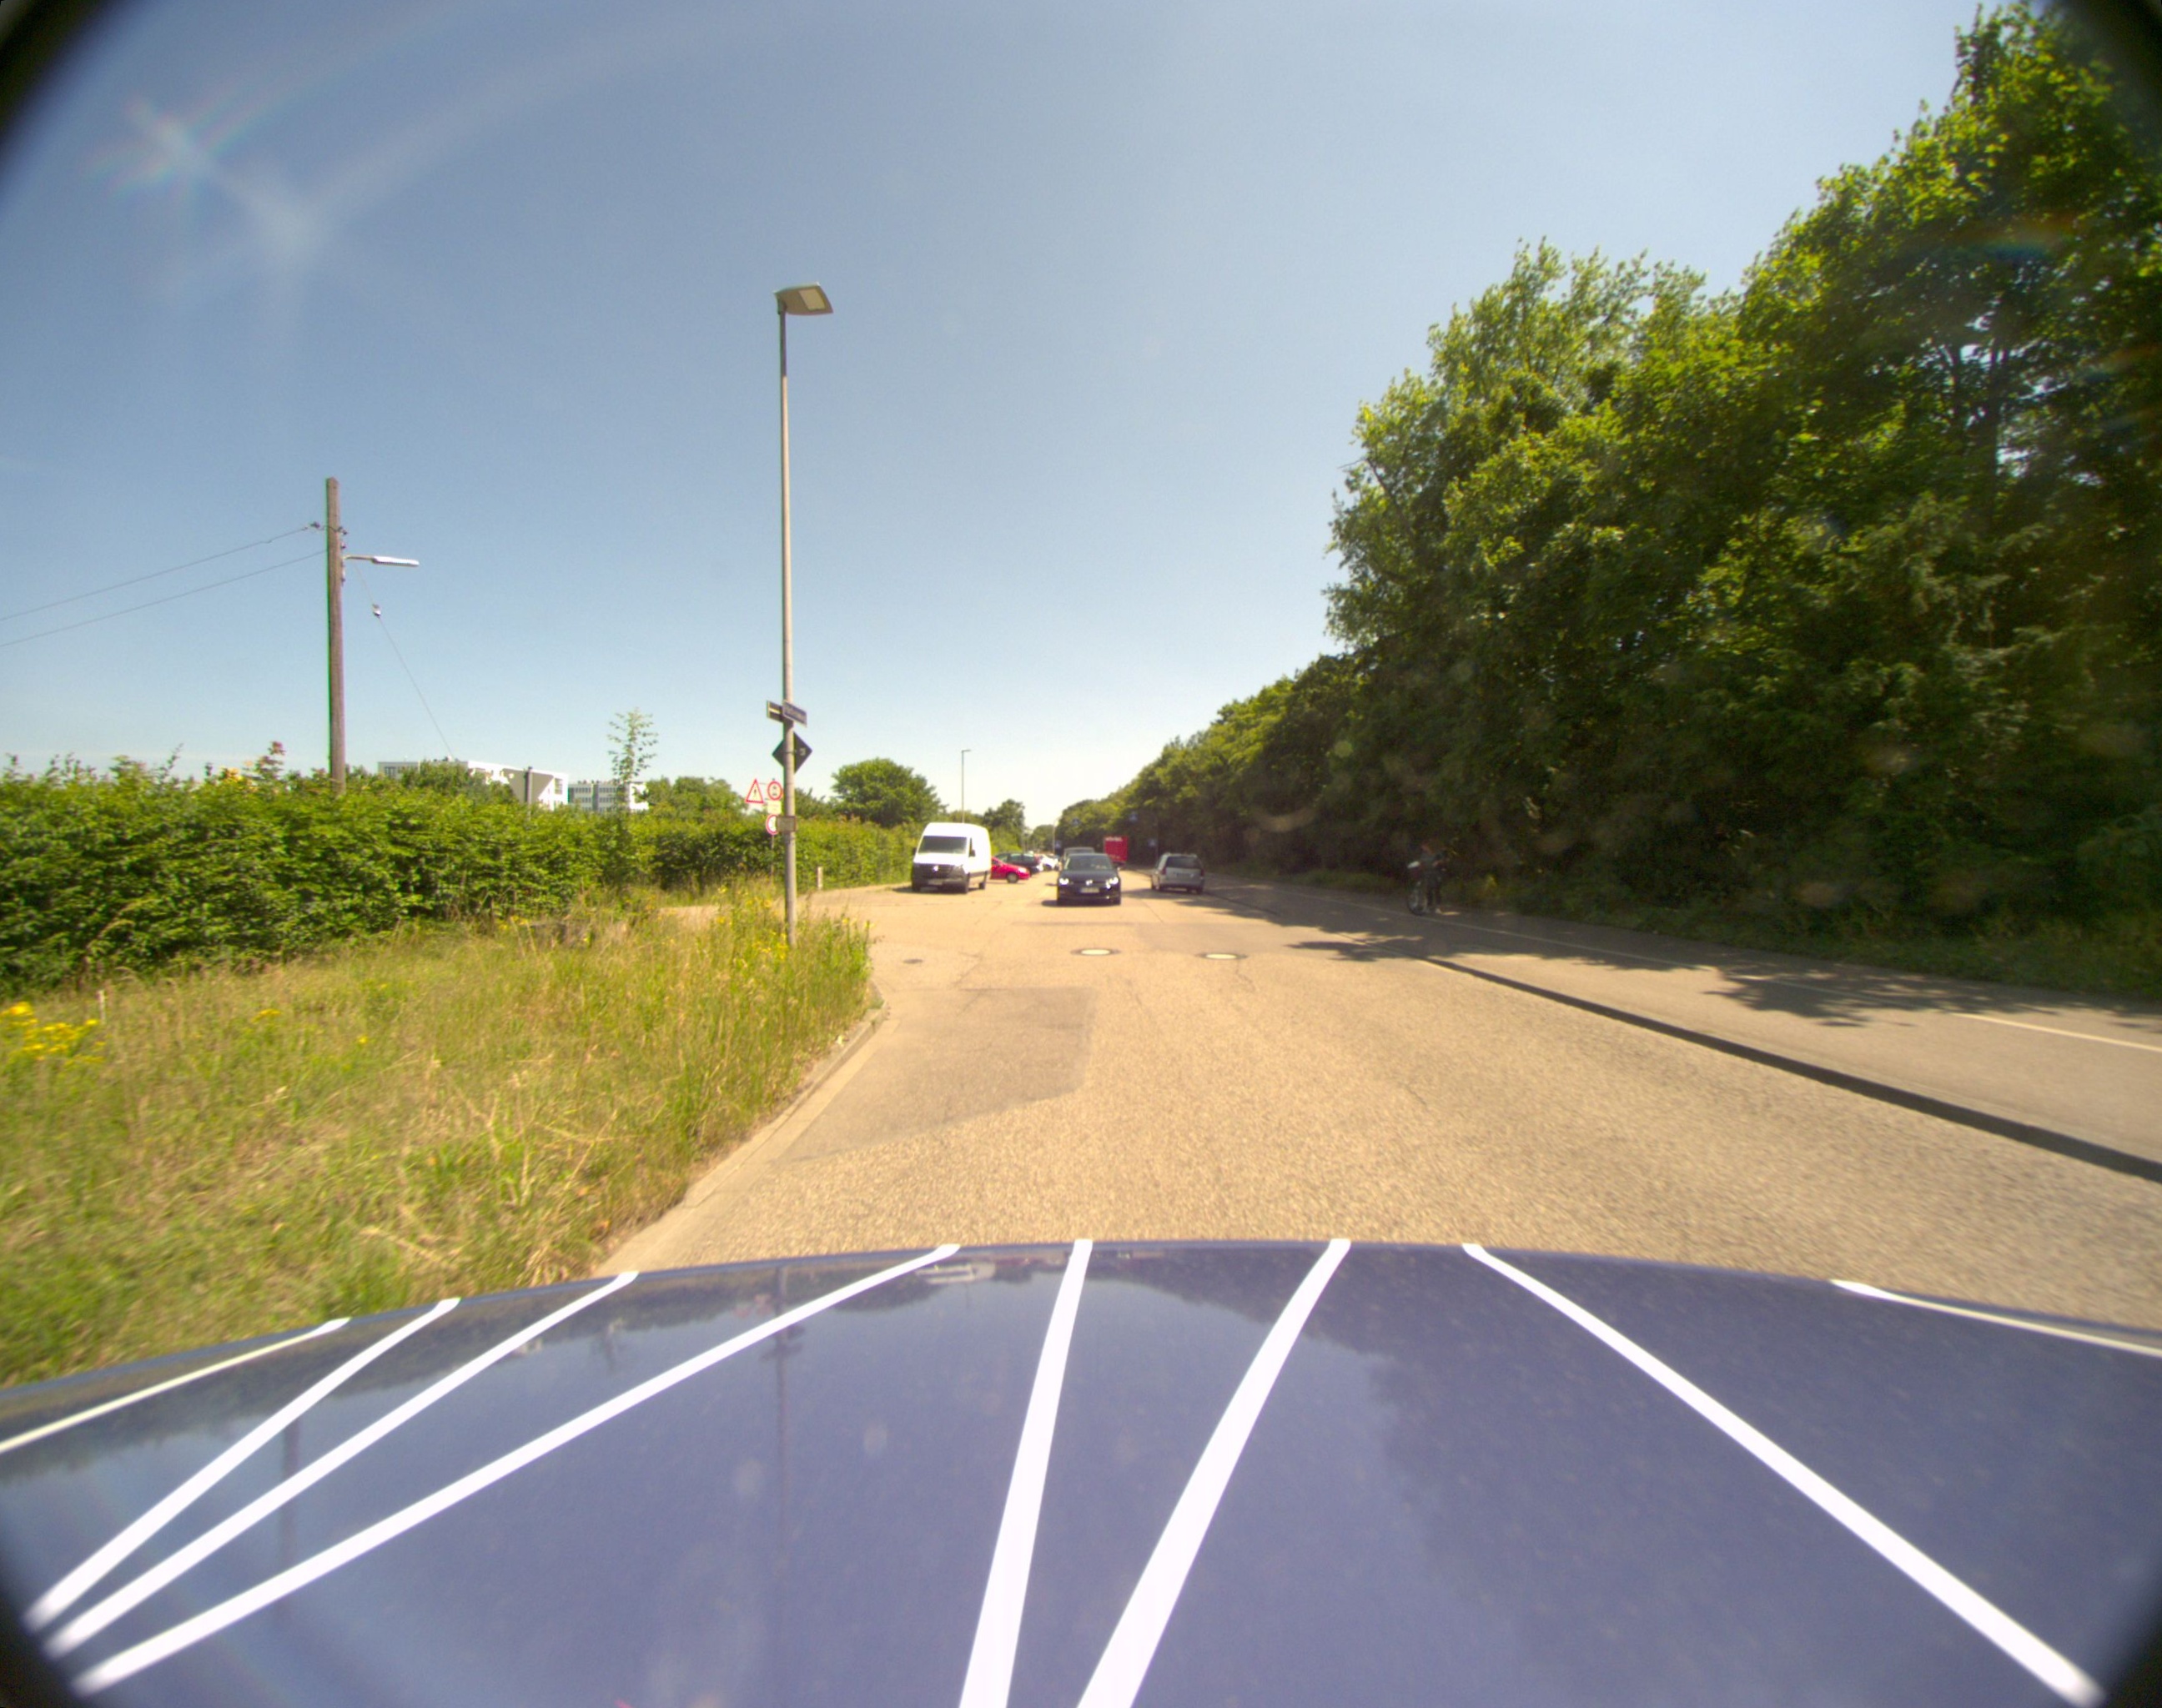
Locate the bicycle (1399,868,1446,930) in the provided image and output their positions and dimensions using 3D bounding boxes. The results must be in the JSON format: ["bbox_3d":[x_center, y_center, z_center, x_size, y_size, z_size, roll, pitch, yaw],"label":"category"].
[{"bbox_3d":[7.778,0.987,17.374,0.522,1.229,1.962,-3,1,12],"label":"bicycle"}]

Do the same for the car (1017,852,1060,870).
[{"bbox_3d":[-4.035,0.624,72.129,3.974,1.514,1.863,3,0,-6],"label":"car"}]

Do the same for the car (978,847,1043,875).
[{"bbox_3d":[-4.938,0.496,53.460,4.466,1.794,1.951,2,1,-4],"label":"car"}]

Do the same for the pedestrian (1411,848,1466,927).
[{"bbox_3d":[8.075,0.742,17.173,0.812,1.708,0.775,-3,2,-34],"label":"pedestrian"}]

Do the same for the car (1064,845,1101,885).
[{"bbox_3d":[0.025,0.539,39.376,1.743,1.905,4.387,-2,0,-2],"label":"car"}]

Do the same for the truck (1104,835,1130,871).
[{"bbox_3d":[3.622,-0.100,77.147,2.328,3.420,7.161,2,0,1],"label":"truck"}]

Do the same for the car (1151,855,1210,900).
[{"bbox_3d":[3.965,0.904,30.938,1.796,1.563,4.272,4,0,1],"label":"car"}]

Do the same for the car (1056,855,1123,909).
[{"bbox_3d":[0.155,0.739,22.319,1.743,1.396,4.387,-1,0,-2],"label":"car"}]

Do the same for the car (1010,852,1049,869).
[{"bbox_3d":[-4.660,0.594,69.118,3.395,1.495,1.588,1,0,3],"label":"car"}]

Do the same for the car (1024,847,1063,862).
[{"bbox_3d":[-4.451,0.078,90.963,4.465,1.720,1.850,1,1,0],"label":"car"}]

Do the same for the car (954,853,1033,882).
[{"bbox_3d":[-4.639,0.711,40.646,4.065,1.426,1.835,2,0,-3],"label":"car"}]

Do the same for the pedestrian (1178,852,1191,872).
[{"bbox_3d":[8.886,0.681,65.407,0.934,1.603,0.885,-2,1,-1],"label":"pedestrian"}]

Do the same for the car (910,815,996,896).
[{"bbox_3d":[-4.826,0.056,29.804,1.959,2.717,7.167,2,0,1],"label":"car"}]

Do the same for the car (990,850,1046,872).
[{"bbox_3d":[-4.929,0.565,59.655,4.287,1.569,1.765,2,0,-2],"label":"car"}]

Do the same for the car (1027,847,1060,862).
[{"bbox_3d":[-4.665,0.069,93.795,3.983,1.676,1.766,1,0,-1],"label":"car"}]
